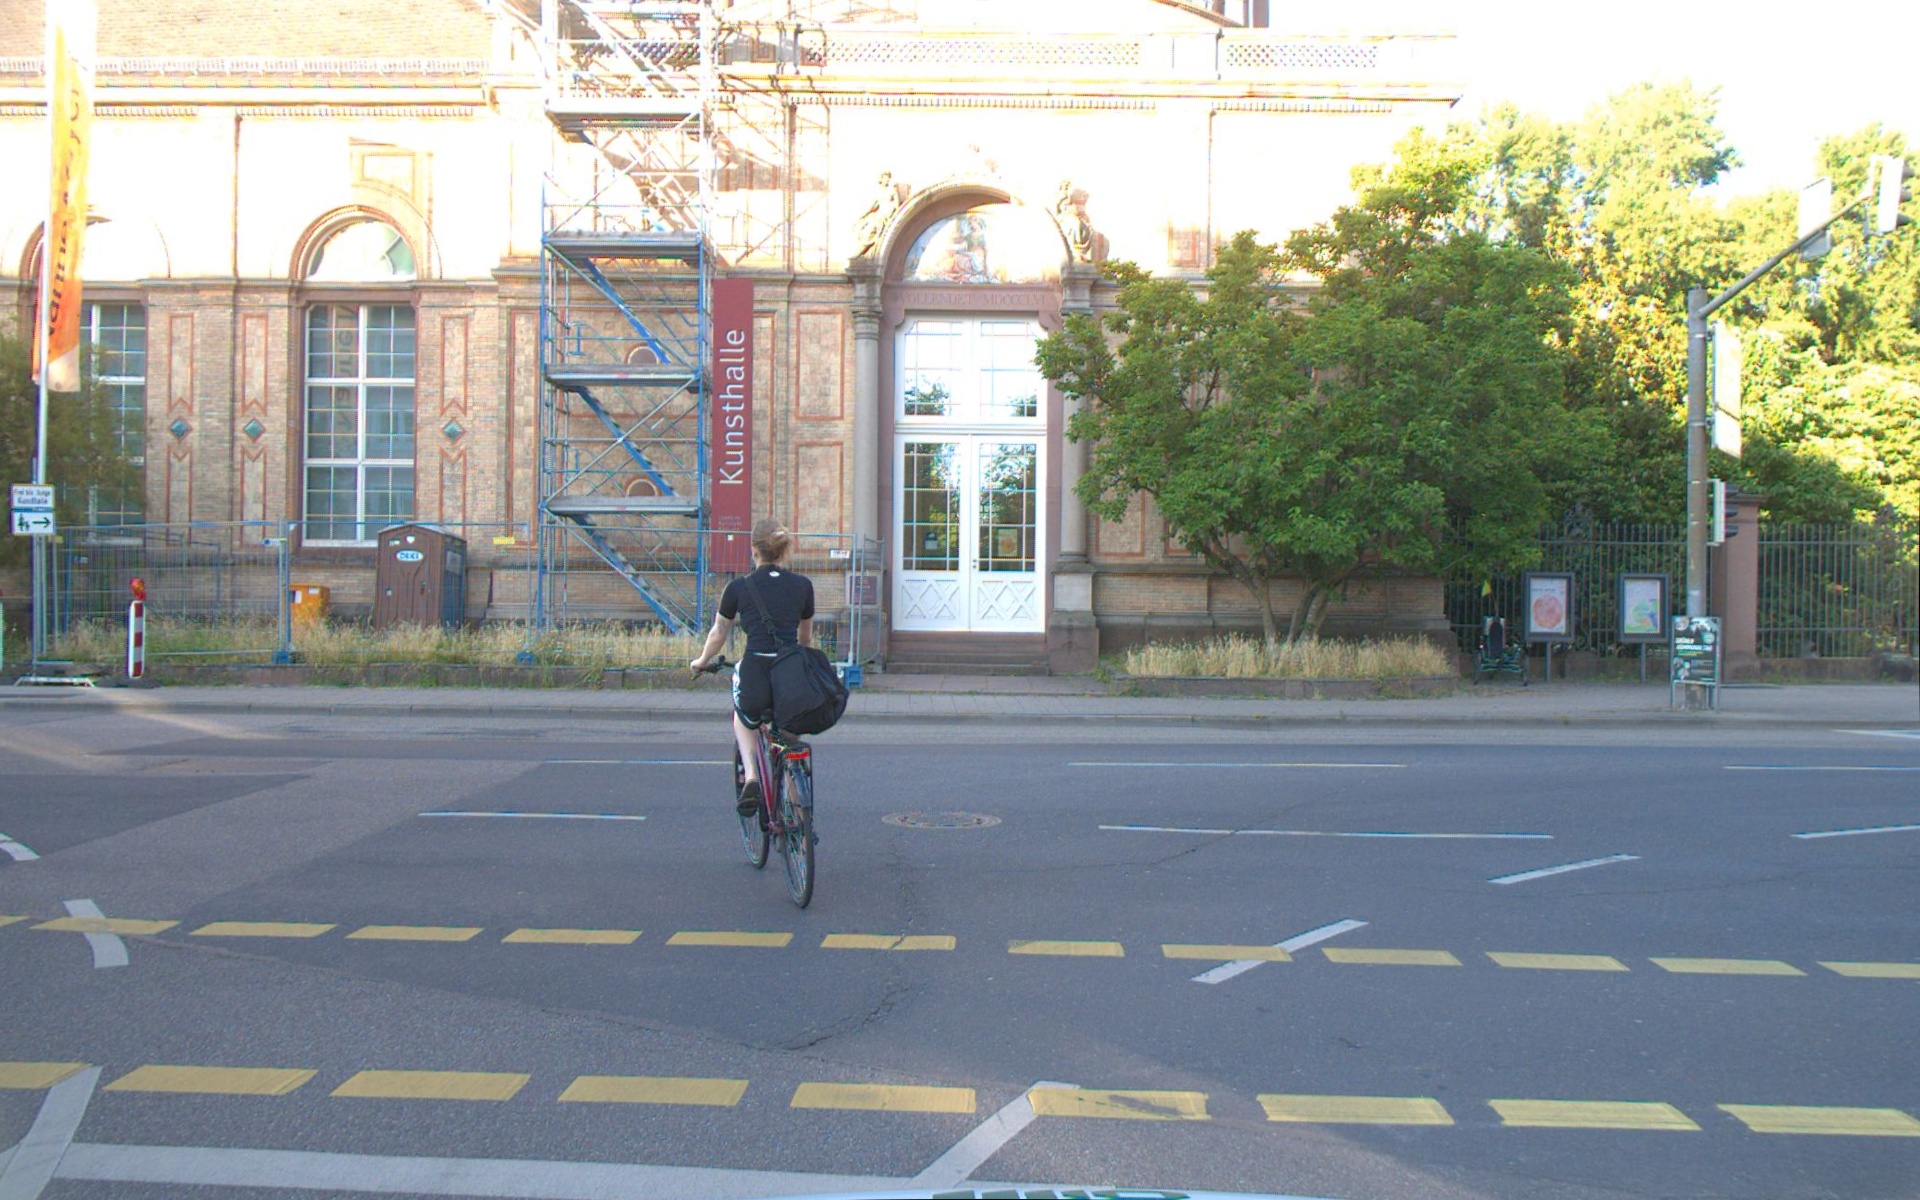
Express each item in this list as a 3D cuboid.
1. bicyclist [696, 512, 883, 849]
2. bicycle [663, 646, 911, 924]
[{"bbox_3d":[-0.845,0.378,8.049,0.705,1.529,0.845,1,-2,-21],"label":"bicyclist"},{"bbox_3d":[-0.918,0.826,8.187,0.701,1.176,2.055,1,-2,-21],"label":"bicycle"}]
